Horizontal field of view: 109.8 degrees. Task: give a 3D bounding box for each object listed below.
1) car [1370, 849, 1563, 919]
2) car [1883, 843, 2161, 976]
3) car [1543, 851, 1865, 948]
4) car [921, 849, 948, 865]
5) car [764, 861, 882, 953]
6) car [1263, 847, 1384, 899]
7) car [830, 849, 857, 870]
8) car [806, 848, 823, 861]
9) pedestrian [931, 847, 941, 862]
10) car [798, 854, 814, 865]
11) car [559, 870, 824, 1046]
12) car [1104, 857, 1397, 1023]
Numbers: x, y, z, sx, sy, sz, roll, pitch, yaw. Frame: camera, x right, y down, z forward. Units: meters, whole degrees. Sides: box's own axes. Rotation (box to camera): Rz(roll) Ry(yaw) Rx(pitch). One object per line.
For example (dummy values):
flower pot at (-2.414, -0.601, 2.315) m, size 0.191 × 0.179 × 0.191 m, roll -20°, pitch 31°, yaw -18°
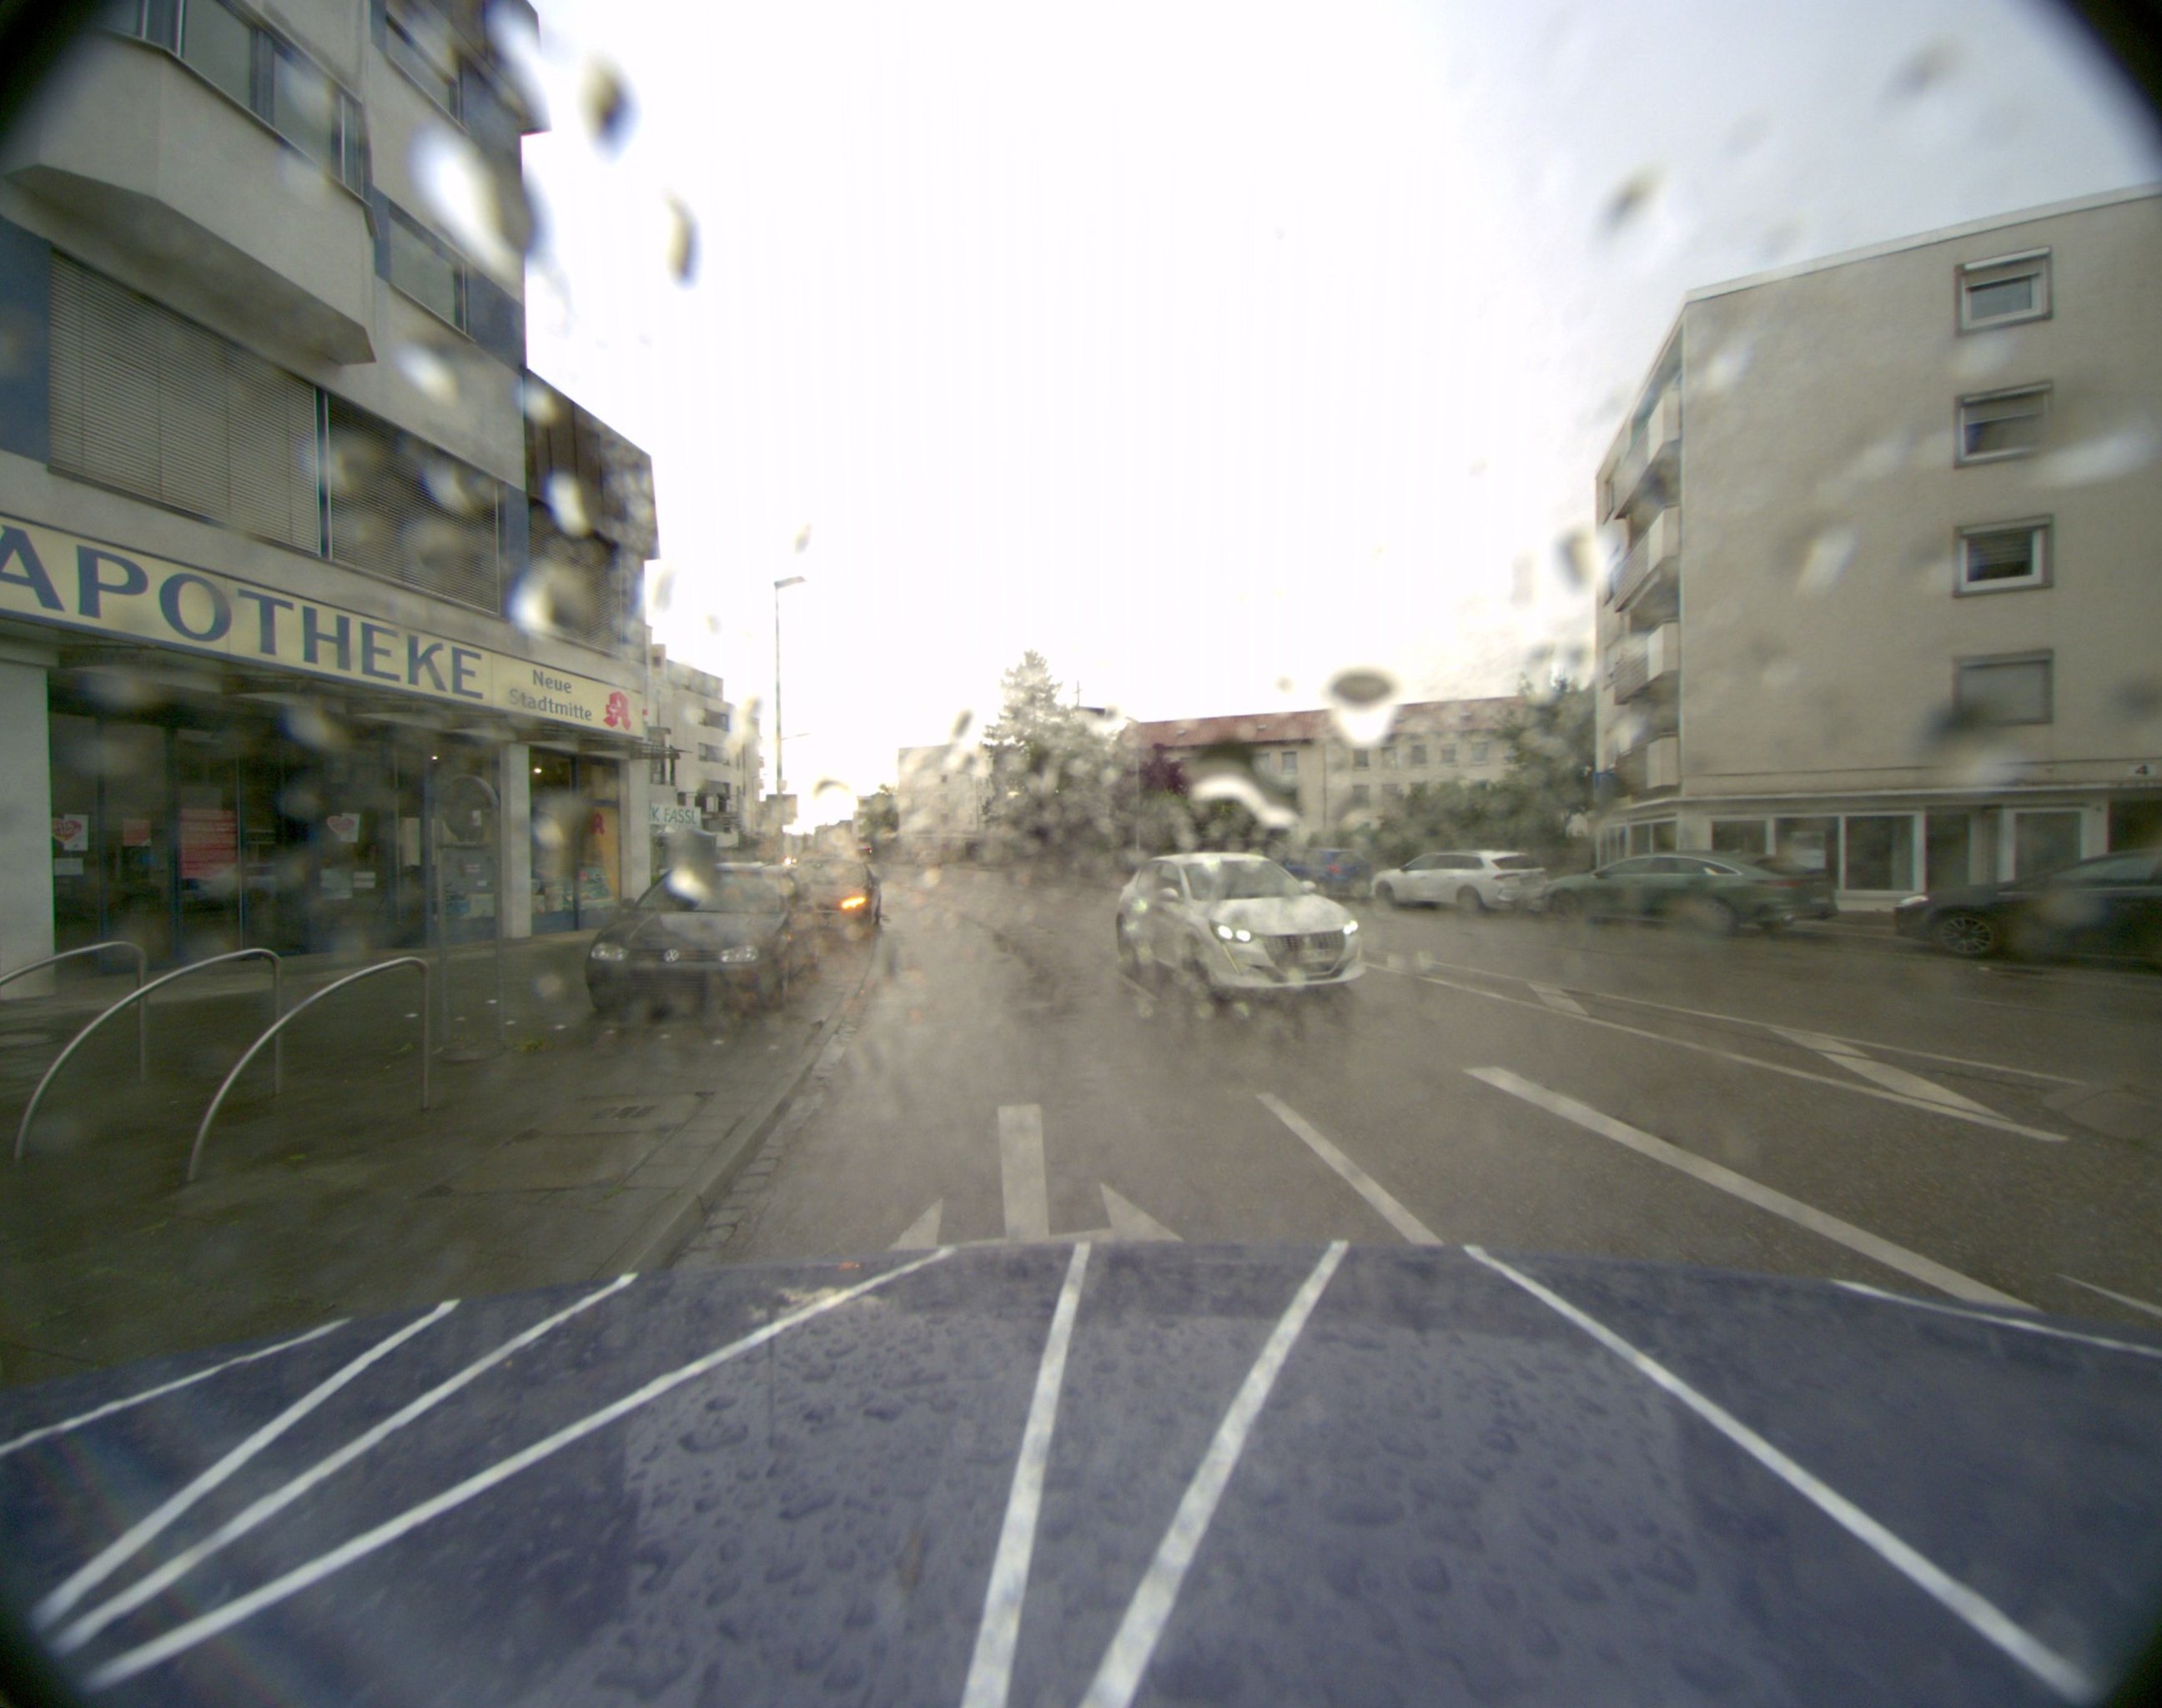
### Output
car at (9.396, 0.642, 18.965) m, size 1.639 × 1.491 × 4.338 m, roll -1°, pitch 1°, yaw -21°
car at (12.950, 0.616, 9.116) m, size 1.839 × 1.451 × 4.180 m, roll -2°, pitch 2°, yaw -20°
car at (11.200, 0.695, 14.094) m, size 1.839 × 1.426 × 4.266 m, roll -2°, pitch 2°, yaw -21°
car at (-13.335, 0.256, 68.923) m, size 1.874 × 1.428 × 3.733 m, roll -1°, pitch 1°, yaw -20°
car at (-4.745, 0.879, 14.456) m, size 1.660 × 1.416 × 3.995 m, roll -1°, pitch 1°, yaw -12°
car at (7.606, 0.541, 24.228) m, size 1.636 × 1.497 × 3.873 m, roll -1°, pitch 1°, yaw -20°
car at (-18.564, 0.409, 59.301) m, size 1.737 × 1.436 × 4.039 m, roll -2°, pitch 2°, yaw -21°
car at (-30.448, 0.076, 86.699) m, size 1.736 × 1.519 × 4.056 m, roll -1°, pitch 0°, yaw -21°
pedestrian at (-16.417, 0.074, 86.098) m, size 0.857 × 1.726 × 0.834 m, roll -1°, pitch 2°, yaw -29°
car at (-38.880, 0.796, 107.336) m, size 1.804 × 1.361 × 3.965 m, roll -1°, pitch 2°, yaw -23°
car at (-3.939, 0.932, 8.353) m, size 1.656 × 1.364 × 3.727 m, roll 2°, pitch 0°, yaw -12°
car at (1.659, 0.780, 8.869) m, size 1.745 × 1.401 × 3.891 m, roll -3°, pitch 1°, yaw -14°
